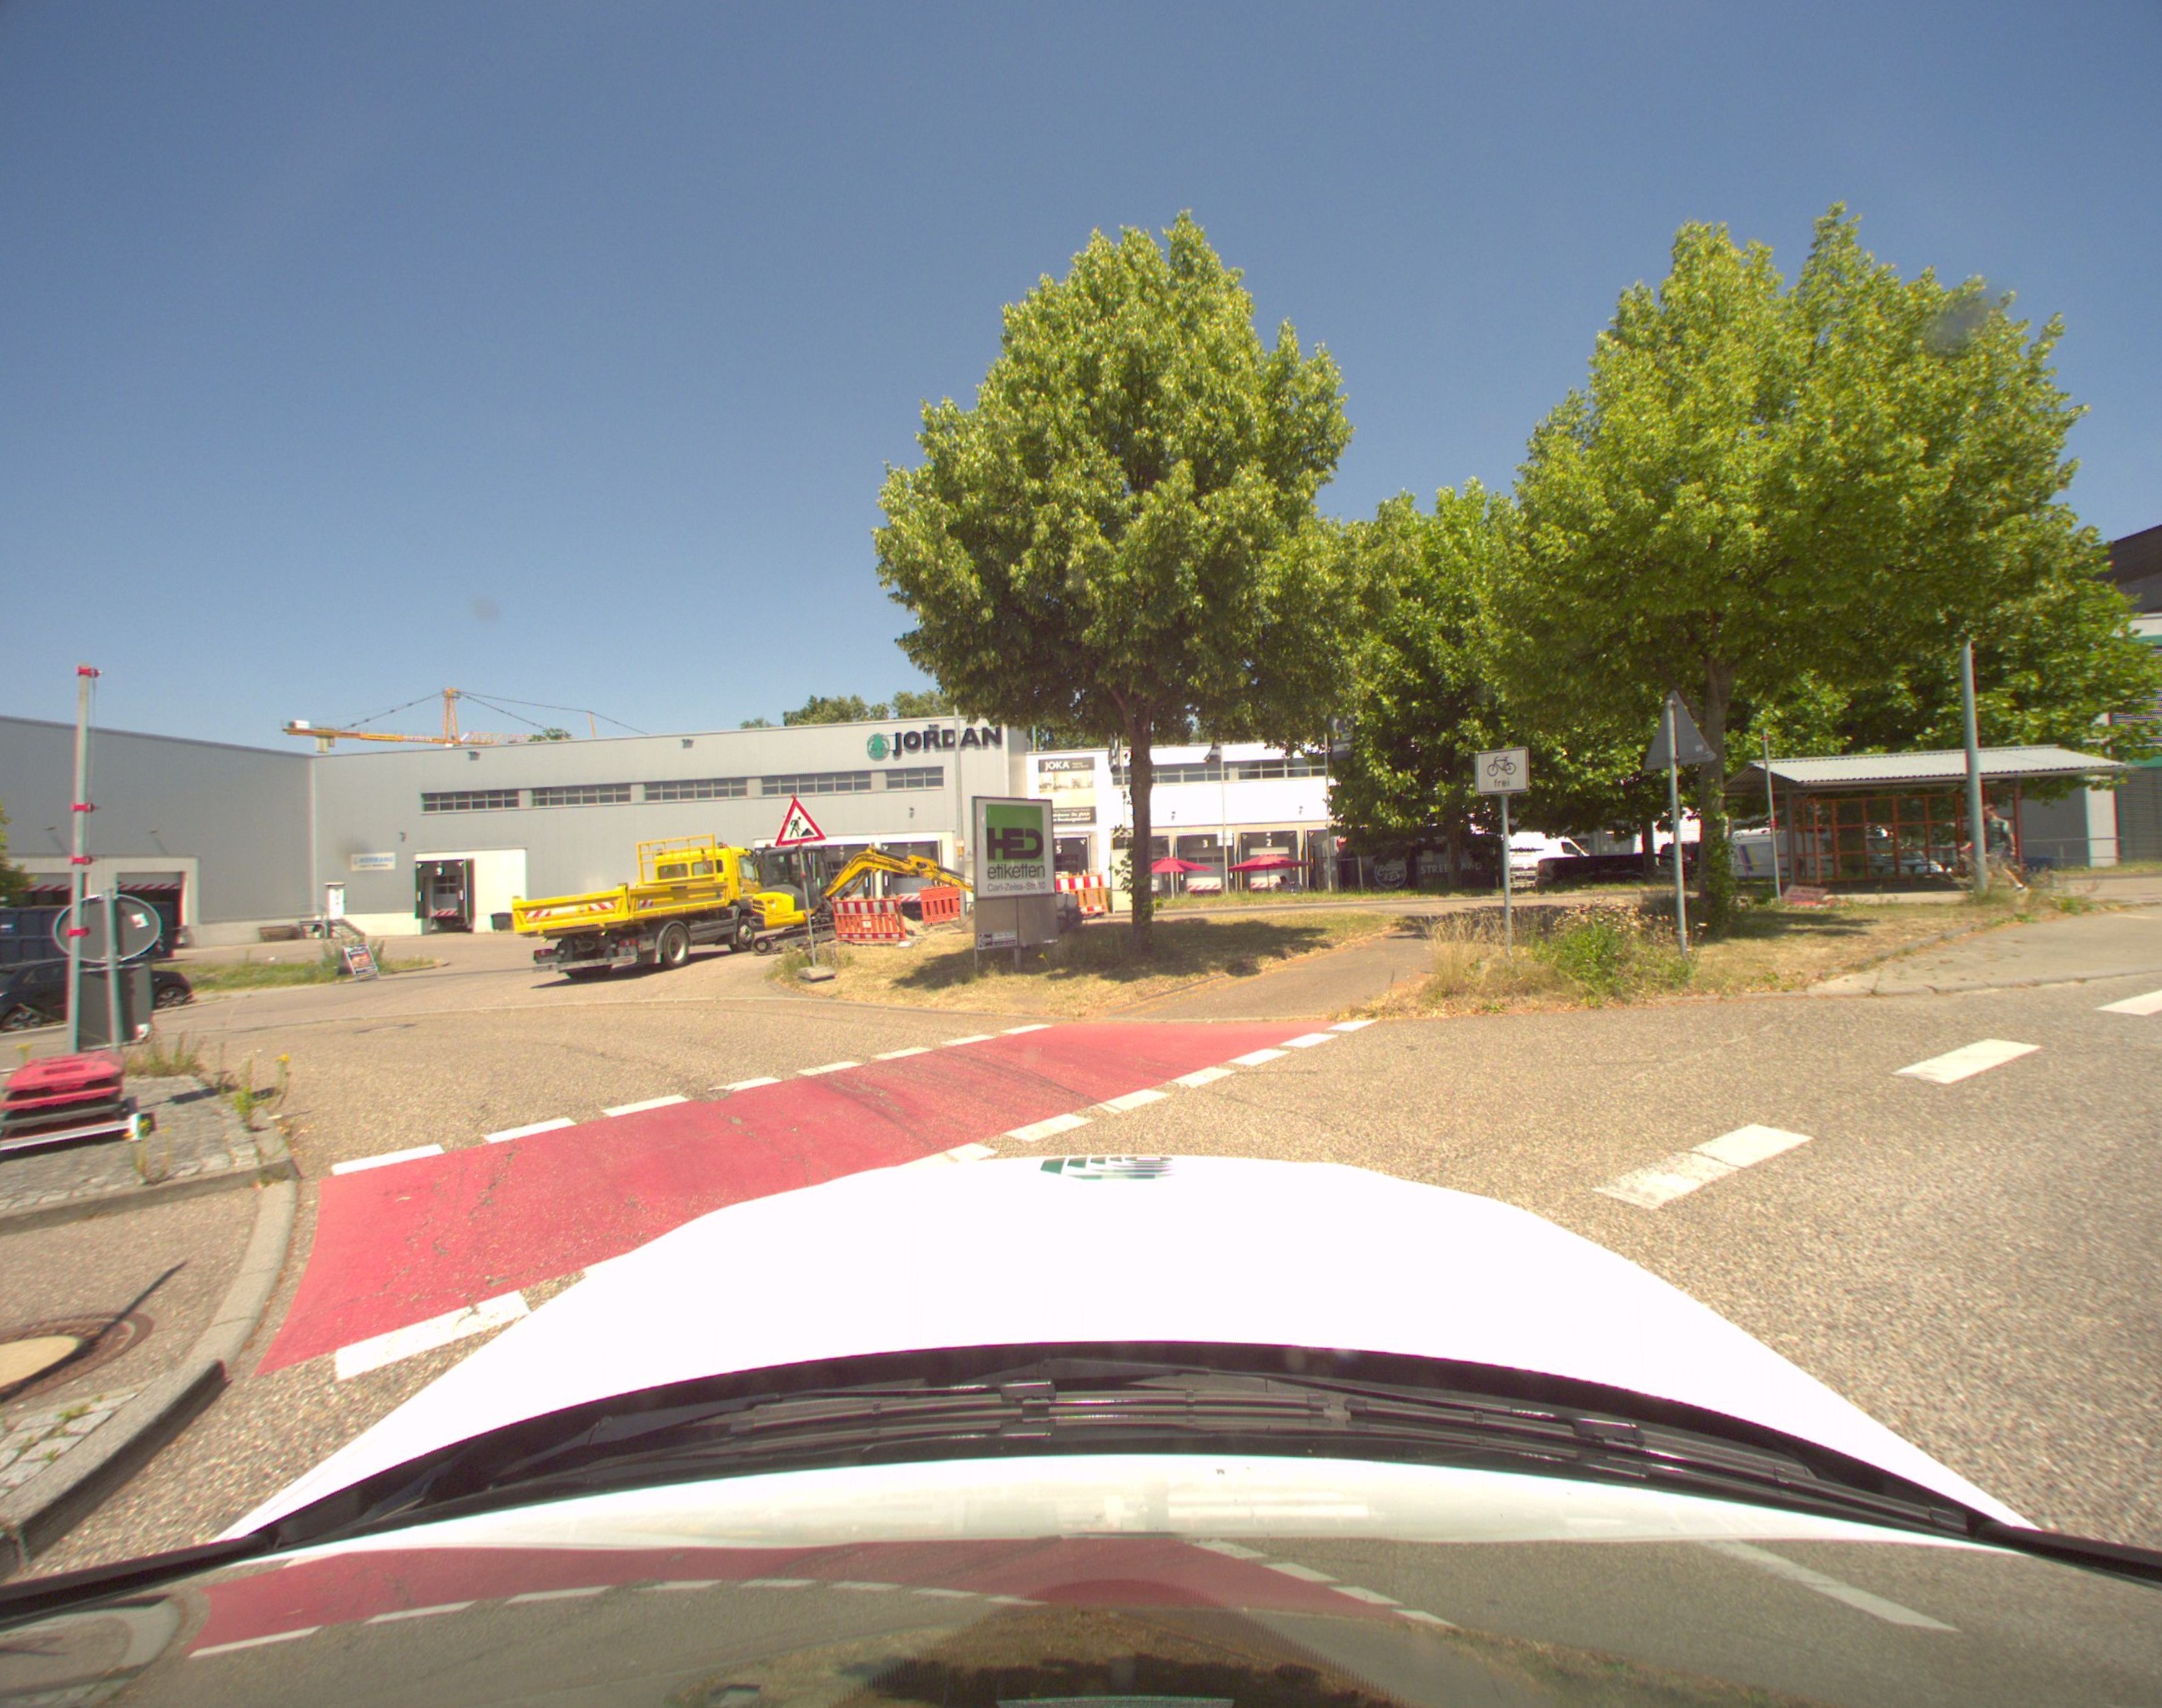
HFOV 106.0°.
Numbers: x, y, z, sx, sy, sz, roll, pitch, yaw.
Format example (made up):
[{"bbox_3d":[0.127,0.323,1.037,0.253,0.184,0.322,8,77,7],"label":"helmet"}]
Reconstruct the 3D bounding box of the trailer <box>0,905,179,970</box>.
[{"bbox_3d":[-41.305,3.317,33.035,7.345,2.421,2.674,-1,-2,9],"label":"trailer"}]

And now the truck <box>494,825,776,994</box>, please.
[{"bbox_3d":[-10.111,1.060,19.464,2.576,3.136,6.432,-5,1,4],"label":"truck"}]

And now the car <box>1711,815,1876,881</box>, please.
[{"bbox_3d":[23.388,-0.115,26.970,1.540,2.014,4.260,0,-2,-3],"label":"car"}]

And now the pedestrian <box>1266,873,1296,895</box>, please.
[{"bbox_3d":[6.822,1.012,27.769,0.855,0.695,0.410,-5,-2,31],"label":"pedestrian"}]

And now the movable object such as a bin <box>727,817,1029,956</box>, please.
[{"bbox_3d":[-4.732,0.796,19.175,6.512,2.581,2.007,-5,-3,12],"label":"movable object such as a bin"}]

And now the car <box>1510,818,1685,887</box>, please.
[{"bbox_3d":[15.501,-0.018,24.649,3.963,1.728,1.845,-4,-2,9],"label":"car"}]

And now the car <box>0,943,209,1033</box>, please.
[{"bbox_3d":[-23.369,3.088,19.058,1.613,1.462,3.681,-5,0,8],"label":"car"}]

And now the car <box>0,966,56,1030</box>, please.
[{"bbox_3d":[-28.024,3.726,19.731,1.614,1.478,3.620,-4,-2,6],"label":"car"}]

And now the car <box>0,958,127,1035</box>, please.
[{"bbox_3d":[-25.598,3.464,19.168,1.578,1.507,3.788,-4,-1,6],"label":"car"}]

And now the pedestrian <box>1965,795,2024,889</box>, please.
[{"bbox_3d":[16.614,-0.201,14.824,0.524,1.670,0.583,-2,-3,35],"label":"pedestrian"}]
